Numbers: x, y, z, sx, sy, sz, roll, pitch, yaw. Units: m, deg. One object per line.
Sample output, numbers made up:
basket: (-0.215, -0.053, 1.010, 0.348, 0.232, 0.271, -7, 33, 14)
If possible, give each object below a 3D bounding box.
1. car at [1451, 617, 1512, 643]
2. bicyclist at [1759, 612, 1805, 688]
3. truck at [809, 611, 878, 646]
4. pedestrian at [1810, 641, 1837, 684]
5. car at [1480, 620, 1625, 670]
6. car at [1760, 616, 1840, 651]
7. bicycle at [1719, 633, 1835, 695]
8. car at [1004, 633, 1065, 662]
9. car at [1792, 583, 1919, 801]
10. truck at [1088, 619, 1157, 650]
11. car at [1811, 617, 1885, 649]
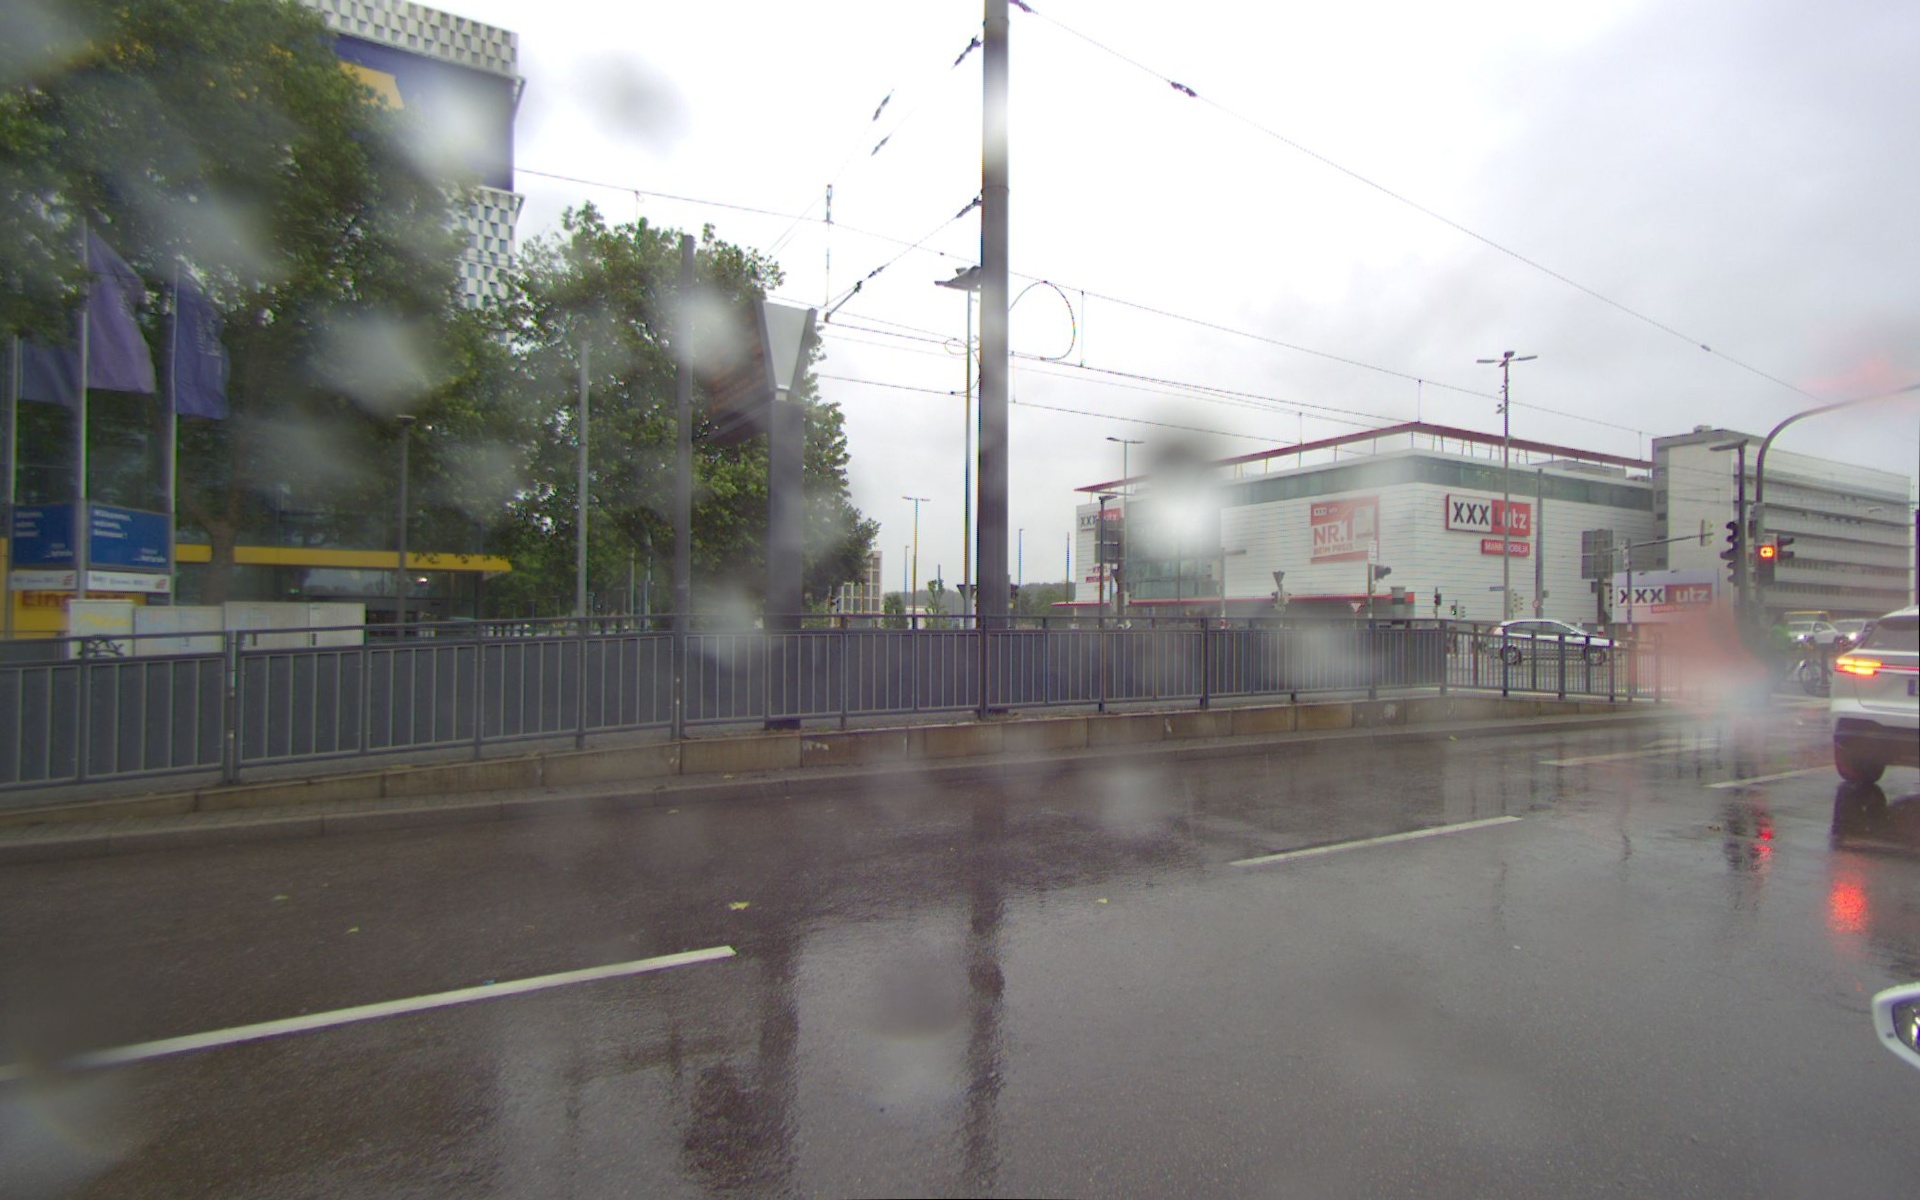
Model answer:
car: (31.284, 1.814, 60.249, 3.765, 1.372, 1.471, 3, 1, -30)
bicyclist: (16.739, 1.001, 20.460, 0.594, 1.511, 0.599, 2, 1, 30)
truck: (-9.109, 2.168, 77.491, 2.445, 2.240, 7.329, 3, 1, -31)
pedestrian: (18.498, 1.333, 21.507, 0.376, 0.909, 0.313, 1, 2, -32)
car: (20.783, 1.530, 35.326, 4.186, 1.447, 1.644, 3, 1, 39)
car: (39.823, 1.588, 47.609, 3.765, 1.445, 1.702, 3, 1, -30)
bicycle: (16.614, 1.287, 20.467, 1.727, 1.153, 0.519, 2, 0, 29)
car: (4.459, 2.849, 60.443, 1.589, 1.394, 4.030, 3, 1, -31)
car: (9.994, 0.820, 9.399, 4.609, 1.799, 1.921, 2, 0, -30)
truck: (12.615, 2.663, 78.409, 1.990, 1.968, 5.847, 3, 1, -31)
car: (44.802, 1.668, 50.663, 3.765, 1.445, 1.702, 3, 1, -30)
